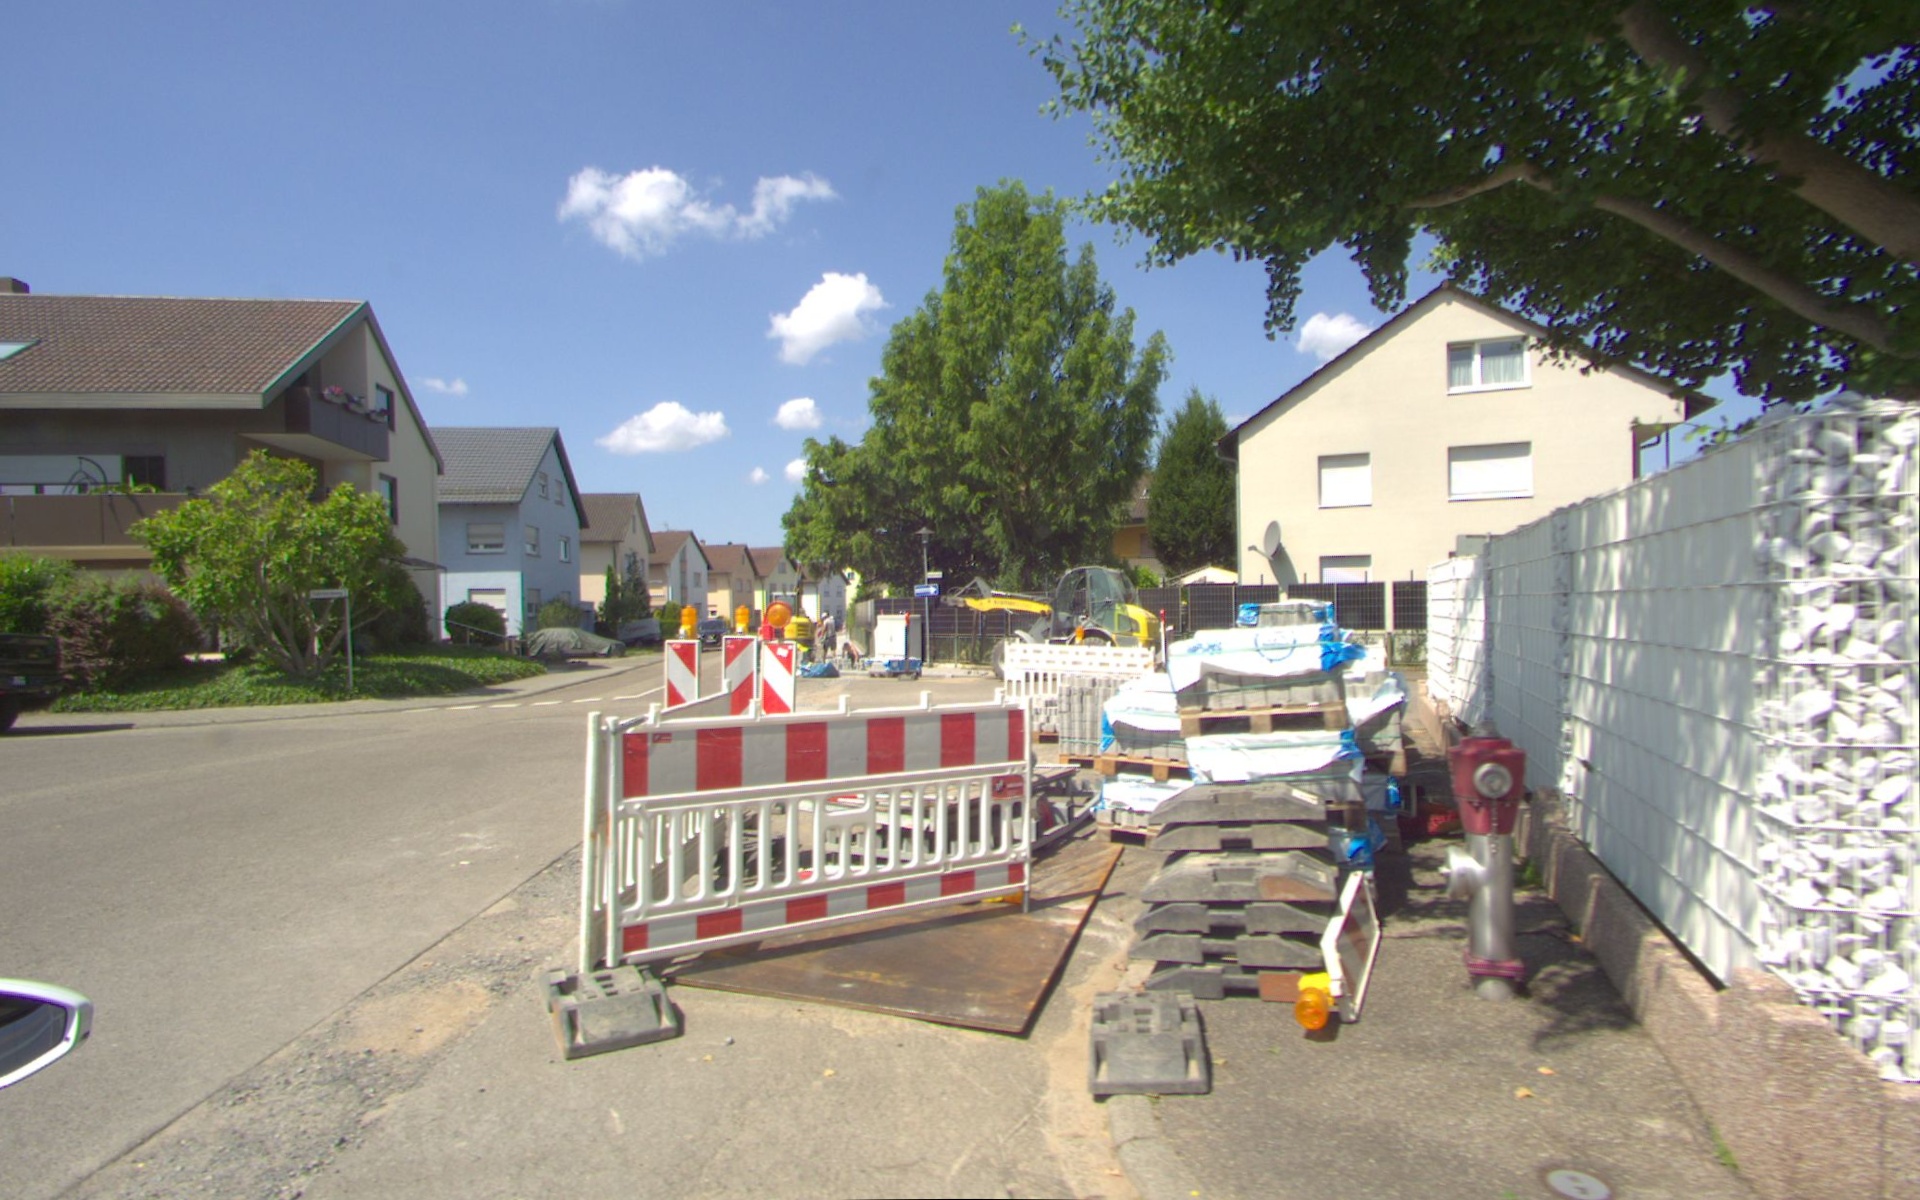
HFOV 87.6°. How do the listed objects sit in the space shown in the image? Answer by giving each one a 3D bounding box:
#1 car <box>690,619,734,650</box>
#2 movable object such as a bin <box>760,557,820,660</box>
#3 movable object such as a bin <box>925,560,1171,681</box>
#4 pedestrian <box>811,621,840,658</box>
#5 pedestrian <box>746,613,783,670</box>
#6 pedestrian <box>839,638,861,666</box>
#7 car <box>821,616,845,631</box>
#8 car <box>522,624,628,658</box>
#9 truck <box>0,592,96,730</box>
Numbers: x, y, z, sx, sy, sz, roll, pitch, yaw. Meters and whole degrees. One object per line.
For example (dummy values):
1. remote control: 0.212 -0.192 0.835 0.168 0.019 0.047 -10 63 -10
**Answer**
1. car: -13.190 1.798 53.458 1.884 1.562 3.998 -1 -1 -9
2. movable object such as a bin: -6.296 0.327 37.411 1.962 3.612 3.814 -1 0 -7
3. movable object such as a bin: 1.952 0.541 22.527 5.146 2.483 1.995 -2 -2 24
4. pedestrian: -4.512 1.318 33.564 0.506 1.184 0.818 -1 0 41
5. pedestrian: -5.446 1.156 27.916 0.526 1.534 0.844 -1 0 41
6. pedestrian: -3.300 1.568 30.165 0.425 0.803 0.520 -2 0 28
7. car: -15.191 2.829 119.955 1.961 1.672 3.999 -1 -1 6
8. car: -16.575 1.744 43.266 3.924 1.359 1.999 -1 0 -9
9. truck: -17.025 0.990 15.106 5.605 2.039 2.371 -1 -2 -10
